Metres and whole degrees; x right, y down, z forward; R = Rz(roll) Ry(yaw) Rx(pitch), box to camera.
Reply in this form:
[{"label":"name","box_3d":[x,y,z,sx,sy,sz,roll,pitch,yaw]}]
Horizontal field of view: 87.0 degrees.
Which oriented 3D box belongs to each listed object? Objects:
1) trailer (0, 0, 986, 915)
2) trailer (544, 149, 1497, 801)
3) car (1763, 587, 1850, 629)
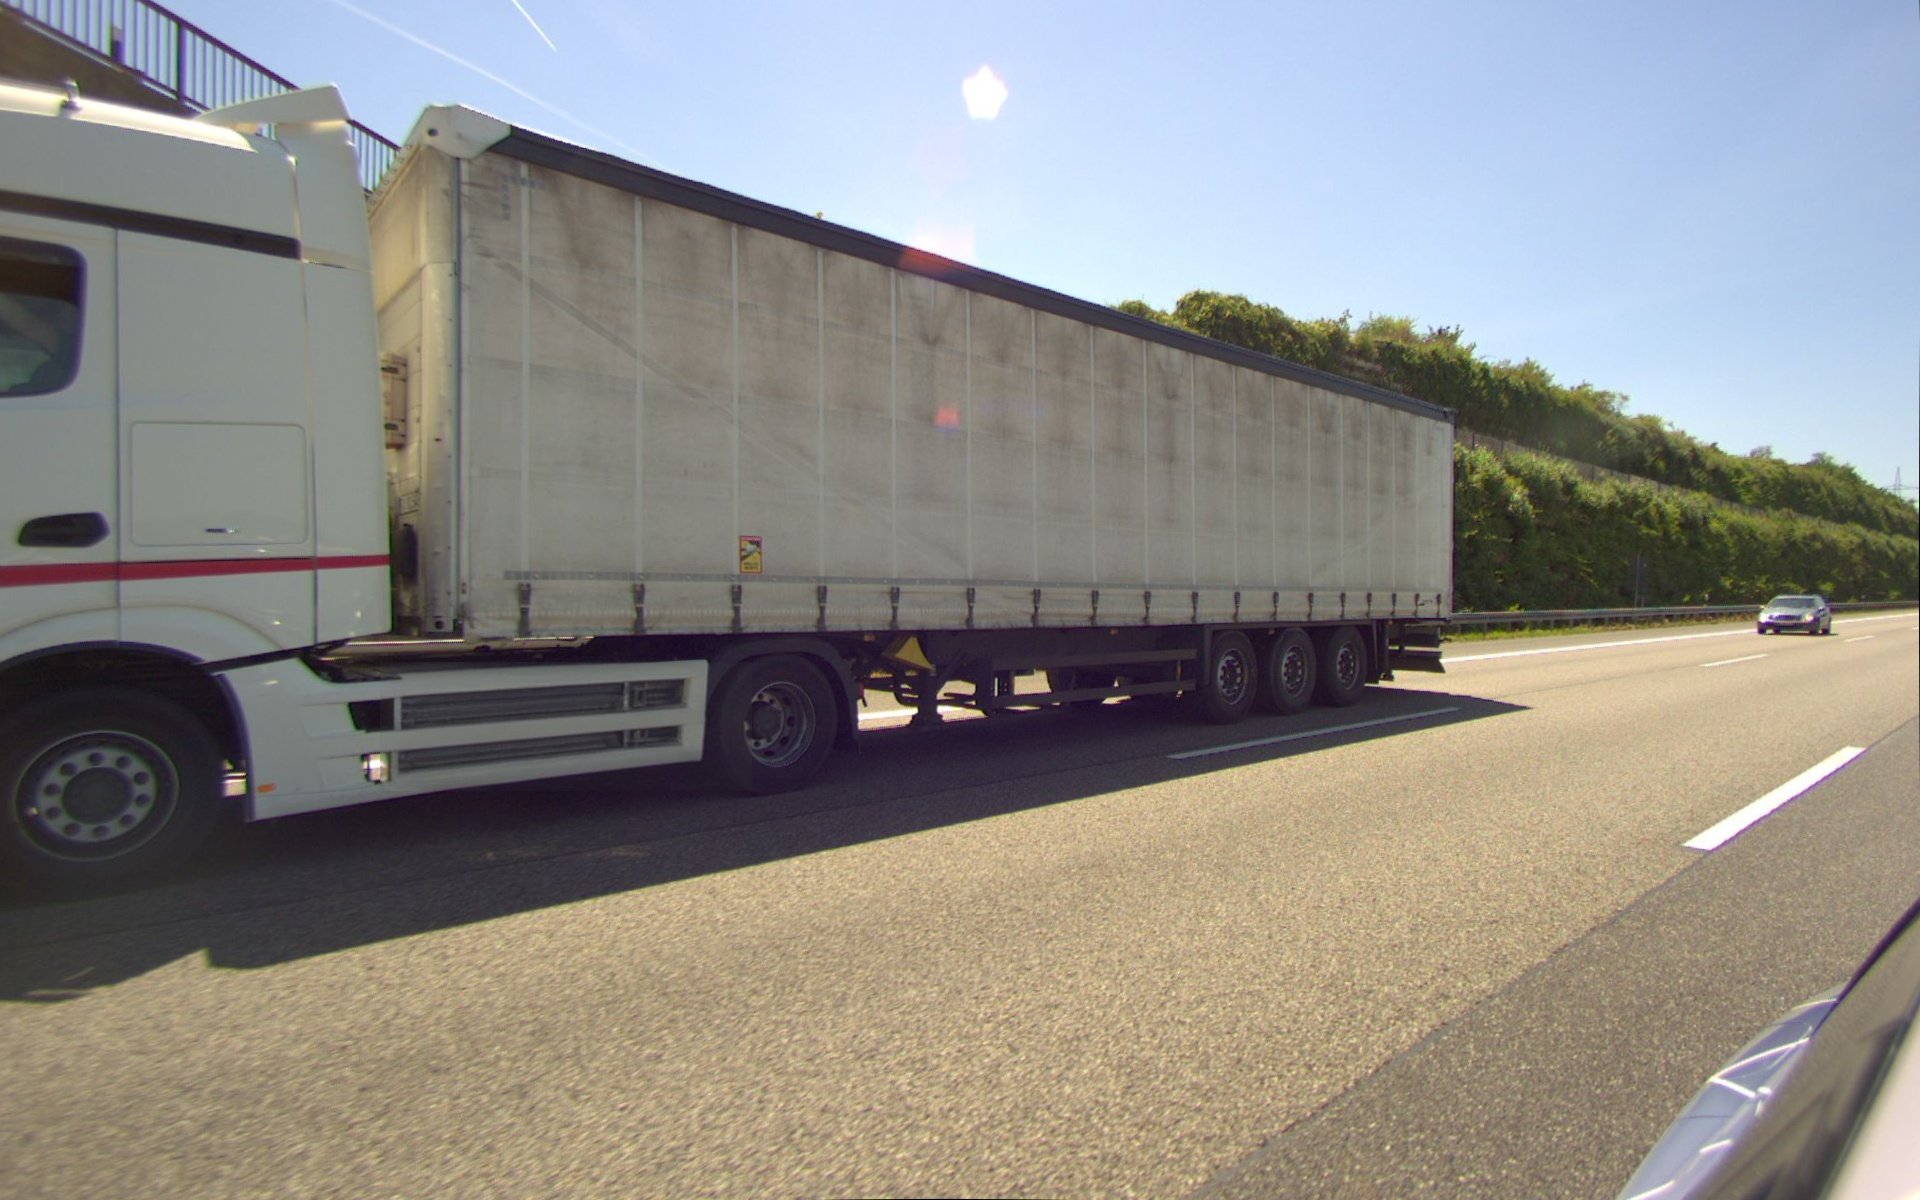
[{"label":"trailer","box_3d":[-3.193,-0.773,6.984,6.671,4.153,2.718,0,1,-42]},{"label":"trailer","box_3d":[2.234,-0.877,11.805,12.961,4.153,2.733,-1,1,-42]},{"label":"car","box_3d":[31.028,0.252,37.056,4.480,1.429,1.838,0,1,-42]}]
